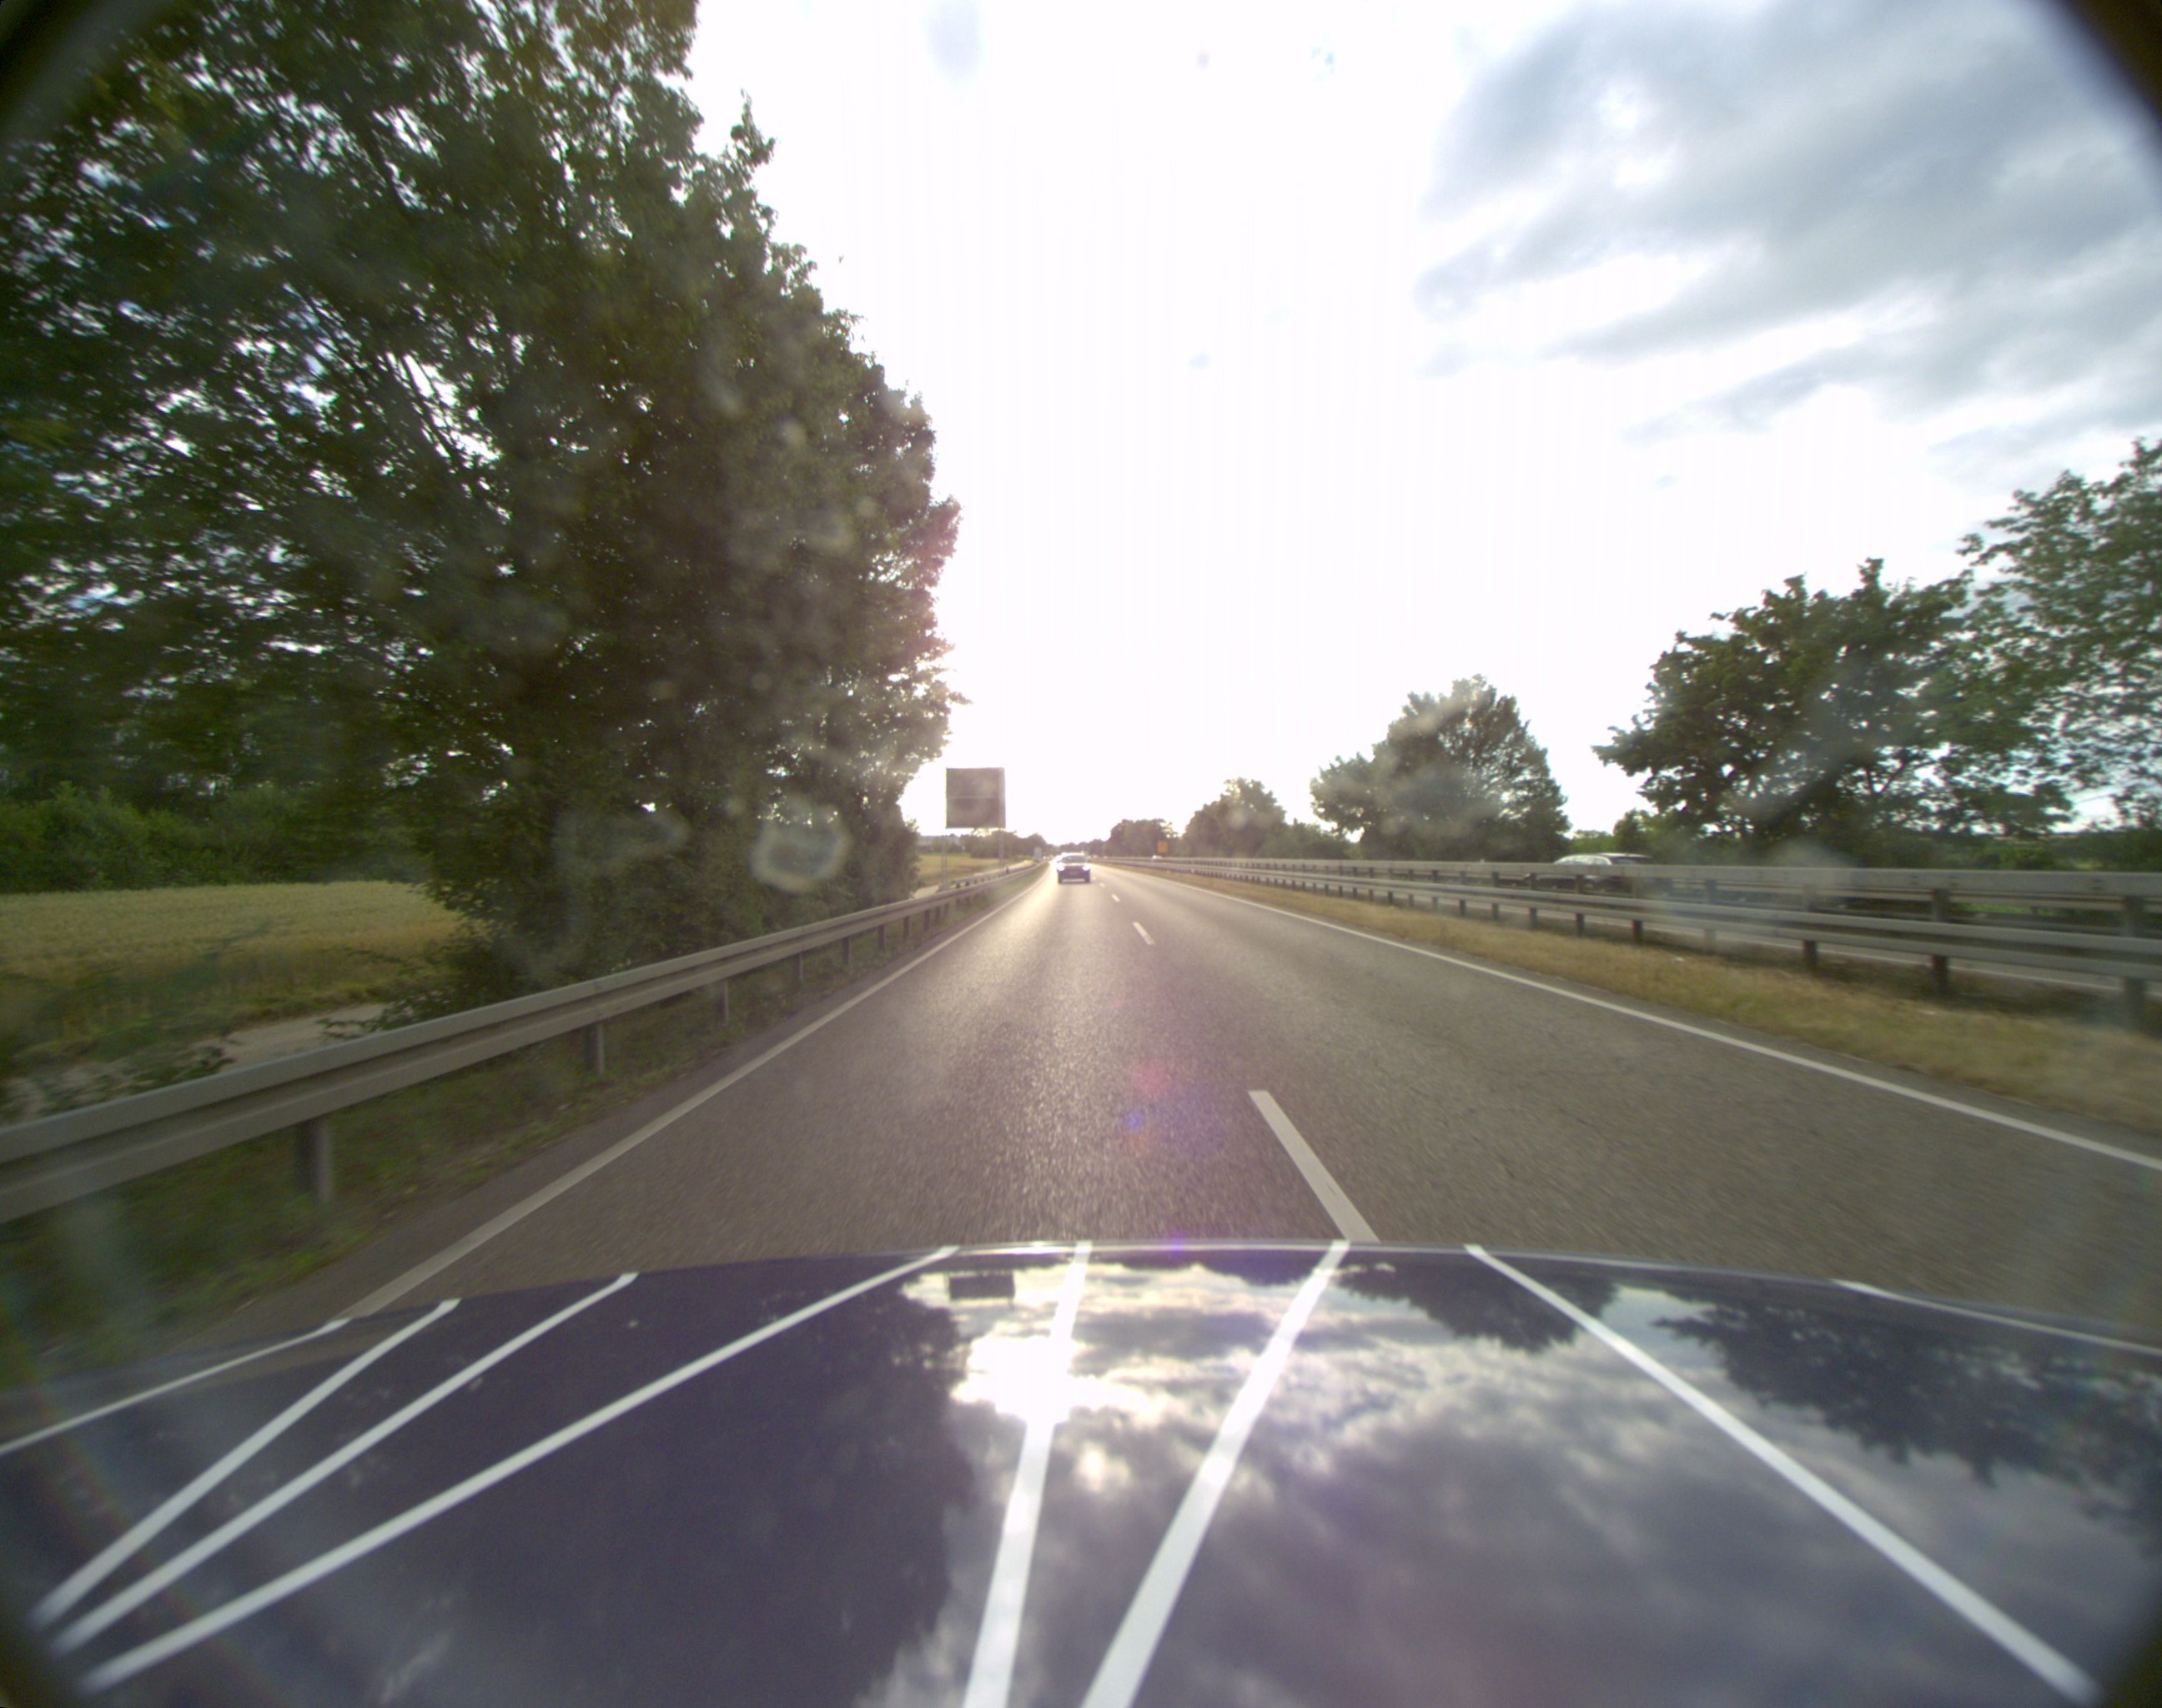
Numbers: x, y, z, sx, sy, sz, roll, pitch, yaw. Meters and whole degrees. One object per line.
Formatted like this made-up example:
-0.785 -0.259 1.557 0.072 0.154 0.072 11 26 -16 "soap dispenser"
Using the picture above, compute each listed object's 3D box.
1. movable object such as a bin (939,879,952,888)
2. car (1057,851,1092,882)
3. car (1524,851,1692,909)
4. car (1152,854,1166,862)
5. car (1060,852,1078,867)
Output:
-10.488 2.263 58.854 0.734 0.642 1.235 -3 1 -1 "movable object such as a bin"
-0.397 0.689 43.952 1.863 1.636 3.999 -2 1 -1 "car"
15.329 0.690 22.468 1.829 1.535 4.587 0 0 1 "car"
13.058 0.717 127.522 1.786 1.344 4.576 0 0 -1 "car"
-1.266 0.563 77.373 1.776 1.389 3.999 -2 0 -2 "car"
